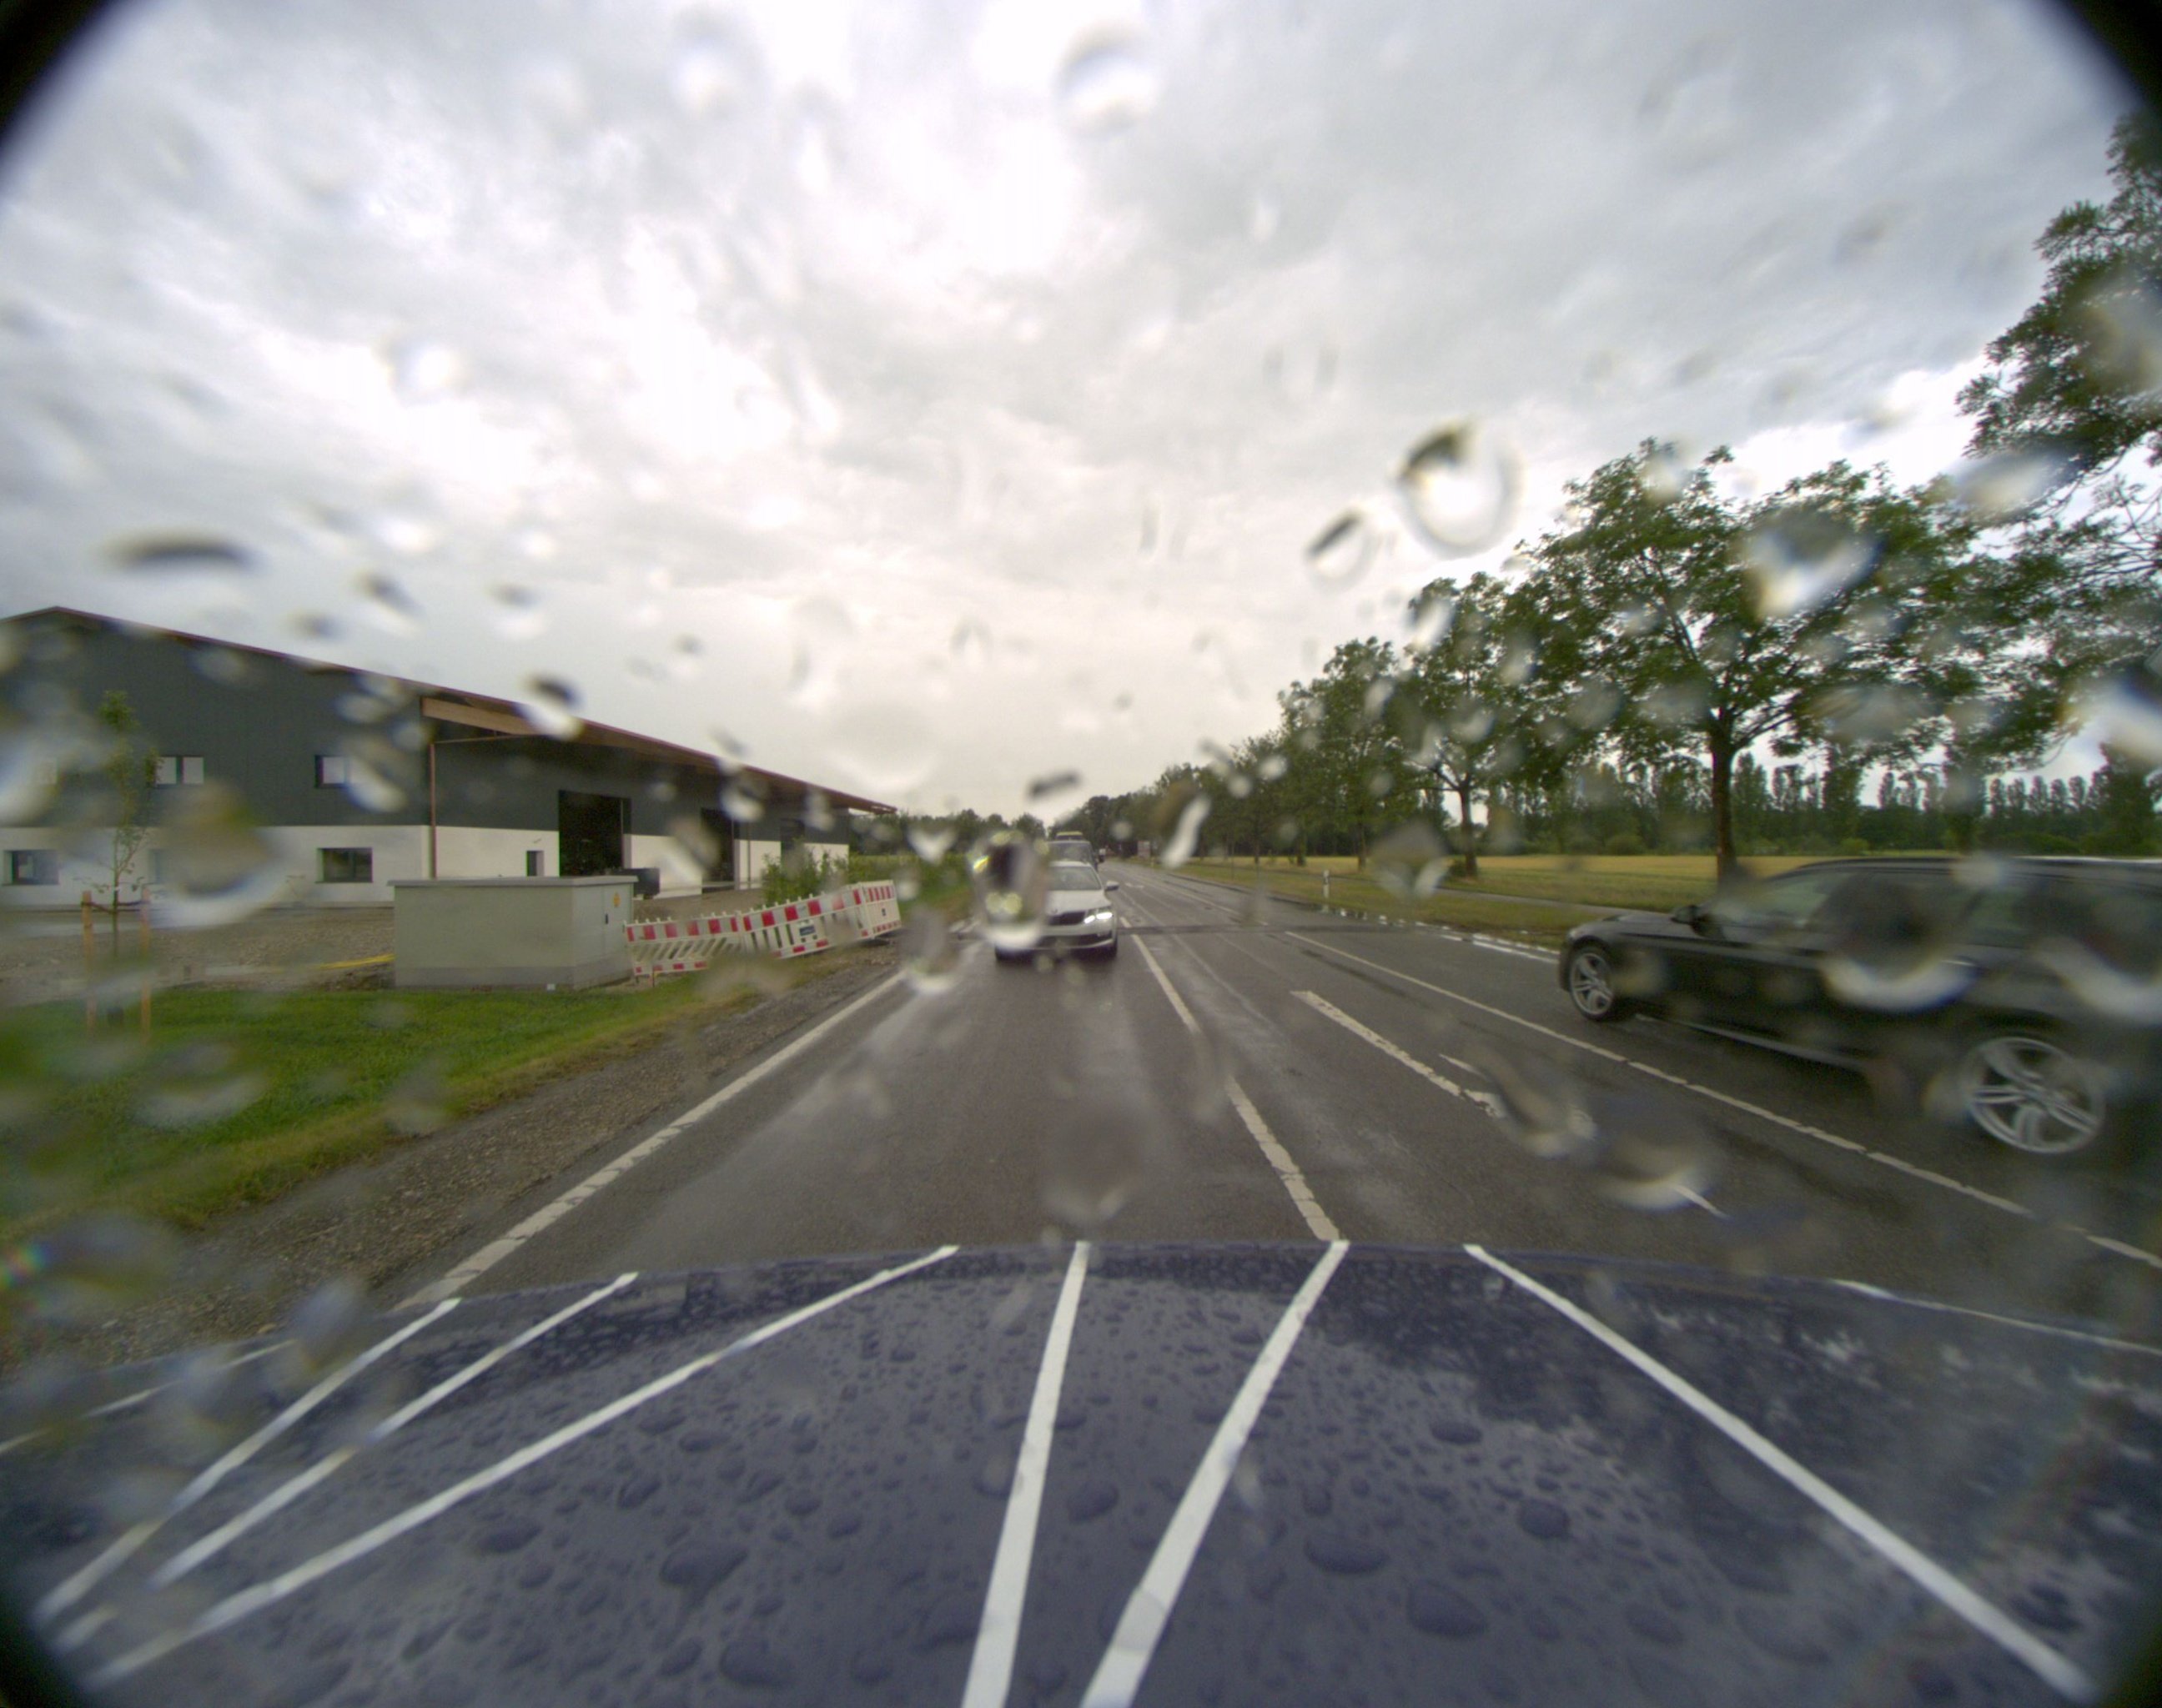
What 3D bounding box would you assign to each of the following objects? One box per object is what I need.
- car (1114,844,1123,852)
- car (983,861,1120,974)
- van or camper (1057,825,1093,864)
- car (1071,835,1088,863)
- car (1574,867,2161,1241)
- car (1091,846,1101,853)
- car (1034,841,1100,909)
[{"bbox_3d":[10.038,-1.565,203.266,1.999,2.002,3.997,-1,1,-5],"label":"car"},{"bbox_3d":[-0.399,0.862,12.342,1.770,1.365,4.575,-2,0,0],"label":"car"},{"bbox_3d":[-0.570,-0.886,75.245,3.342,3.624,8.371,0,1,0],"label":"van or camper"},{"bbox_3d":[-0.187,-0.555,87.019,1.771,3.134,4.027,-1,1,-1],"label":"car"},{"bbox_3d":[5.260,0.861,4.460,1.770,1.429,4.412,1,0,-1],"label":"car"},{"bbox_3d":[4.224,-1.307,214.673,2.001,2.002,3.995,-1,1,-12],"label":"car"},{"bbox_3d":[-0.393,0.553,23.413,1.841,1.888,4.575,0,1,0],"label":"car"}]
